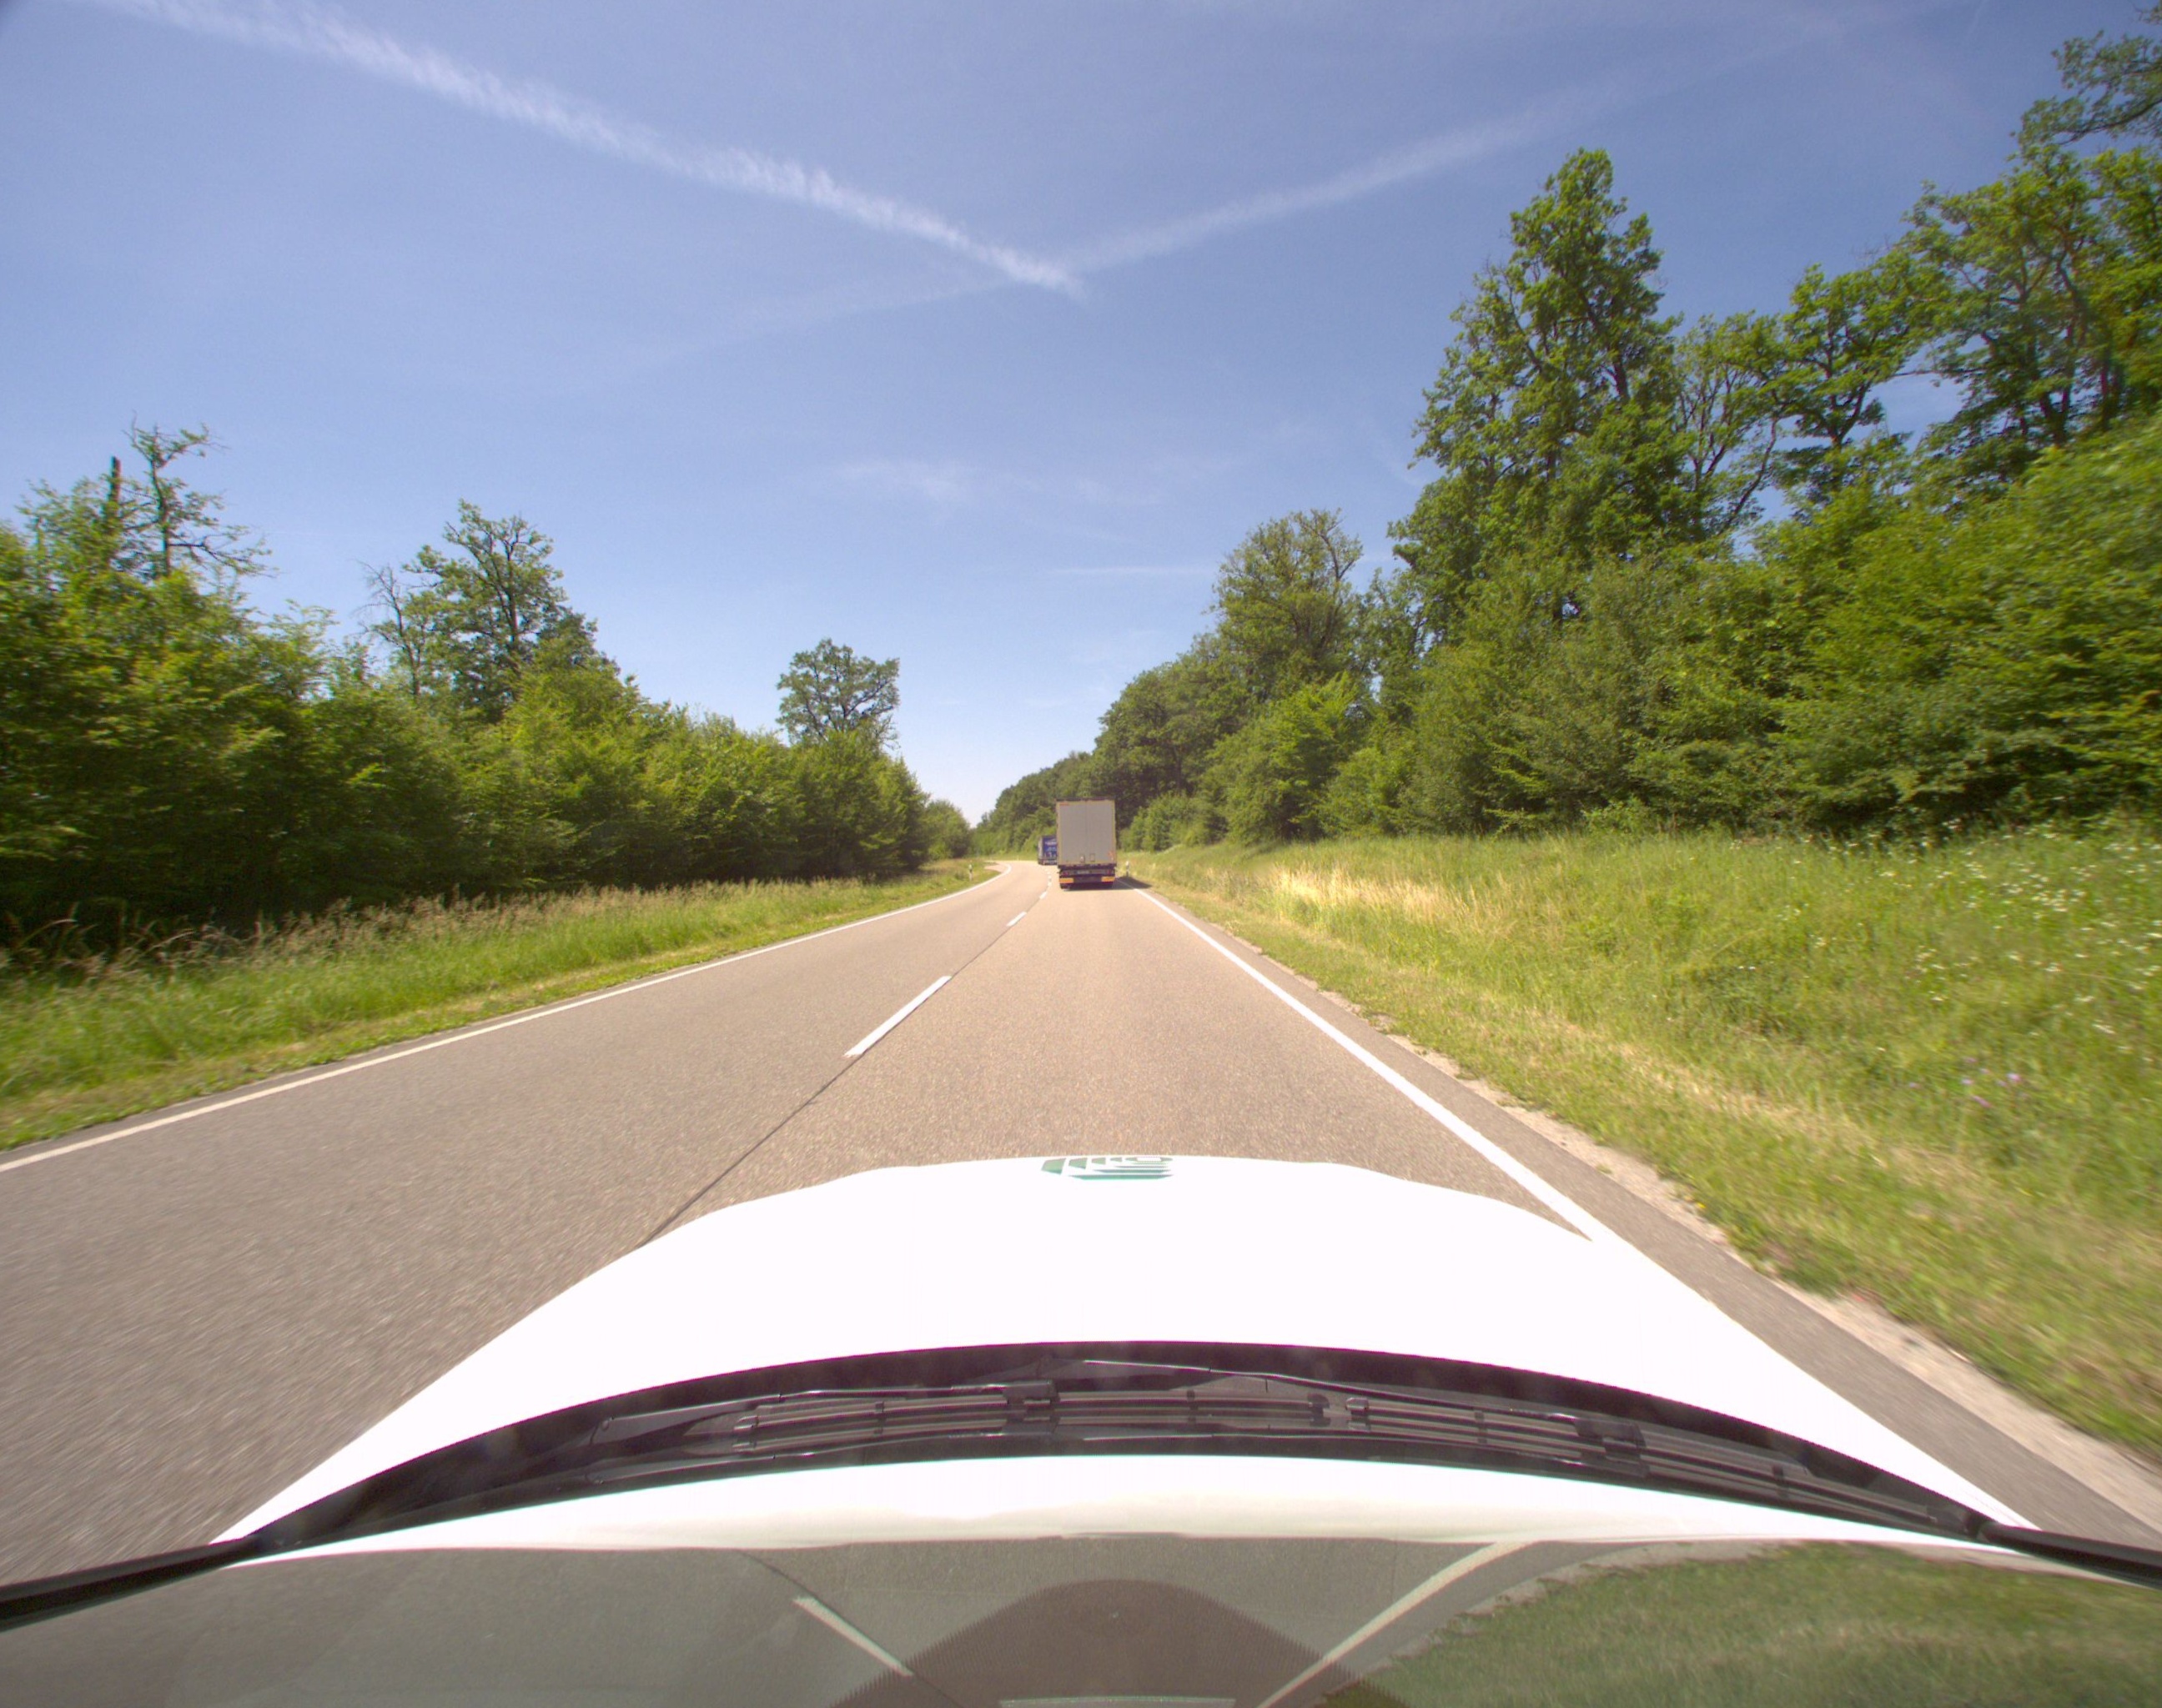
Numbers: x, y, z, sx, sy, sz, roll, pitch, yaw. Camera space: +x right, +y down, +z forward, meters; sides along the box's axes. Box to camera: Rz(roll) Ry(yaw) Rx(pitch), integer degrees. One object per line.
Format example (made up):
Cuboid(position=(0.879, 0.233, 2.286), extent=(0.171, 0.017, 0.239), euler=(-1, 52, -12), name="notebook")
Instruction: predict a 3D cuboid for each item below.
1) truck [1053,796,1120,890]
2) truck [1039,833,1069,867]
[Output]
Cuboid(position=(0.237, -0.475, 40.656), extent=(2.752, 3.947, 12.195), euler=(-1, 0, 0), name="truck")
Cuboid(position=(-3.916, -0.565, 114.050), extent=(3.786, 4.373, 14.899), euler=(-1, 0, -4), name="truck")
